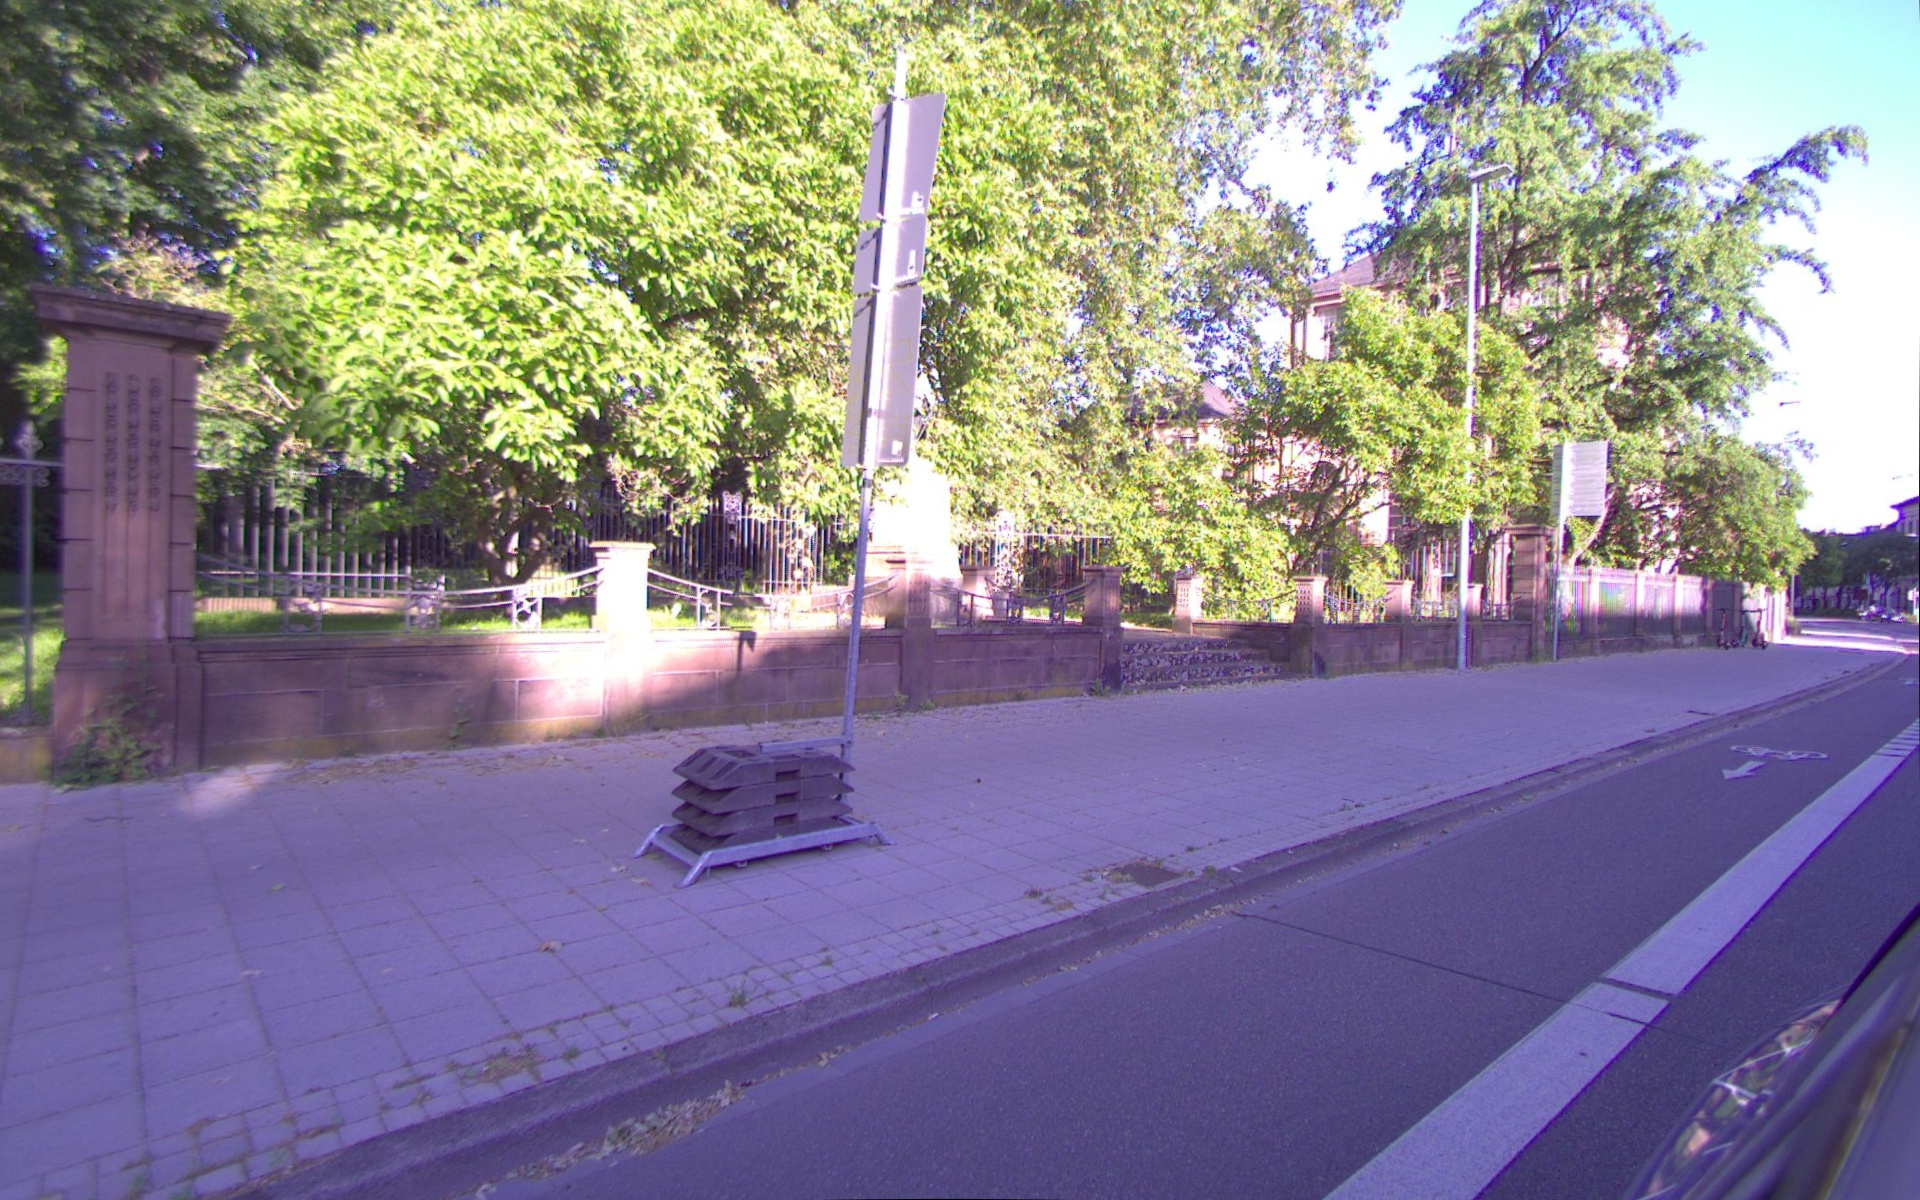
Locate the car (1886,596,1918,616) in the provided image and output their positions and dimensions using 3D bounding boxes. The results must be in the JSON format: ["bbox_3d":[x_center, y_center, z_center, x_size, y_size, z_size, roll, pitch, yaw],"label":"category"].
[{"bbox_3d":[92.179,0.588,99.051,3.930,1.905,1.866,0,1,-41],"label":"car"}]

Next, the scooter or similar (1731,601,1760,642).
[{"bbox_3d":[23.621,0.629,30.441,0.574,1.199,1.465,3,2,41],"label":"scooter or similar"}]

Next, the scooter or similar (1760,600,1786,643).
[{"bbox_3d":[24.720,0.640,30.790,0.514,1.255,1.502,2,2,37],"label":"scooter or similar"}]

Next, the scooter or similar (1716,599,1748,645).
[{"bbox_3d":[22.273,0.613,29.216,0.572,1.269,1.470,2,2,33],"label":"scooter or similar"}]
